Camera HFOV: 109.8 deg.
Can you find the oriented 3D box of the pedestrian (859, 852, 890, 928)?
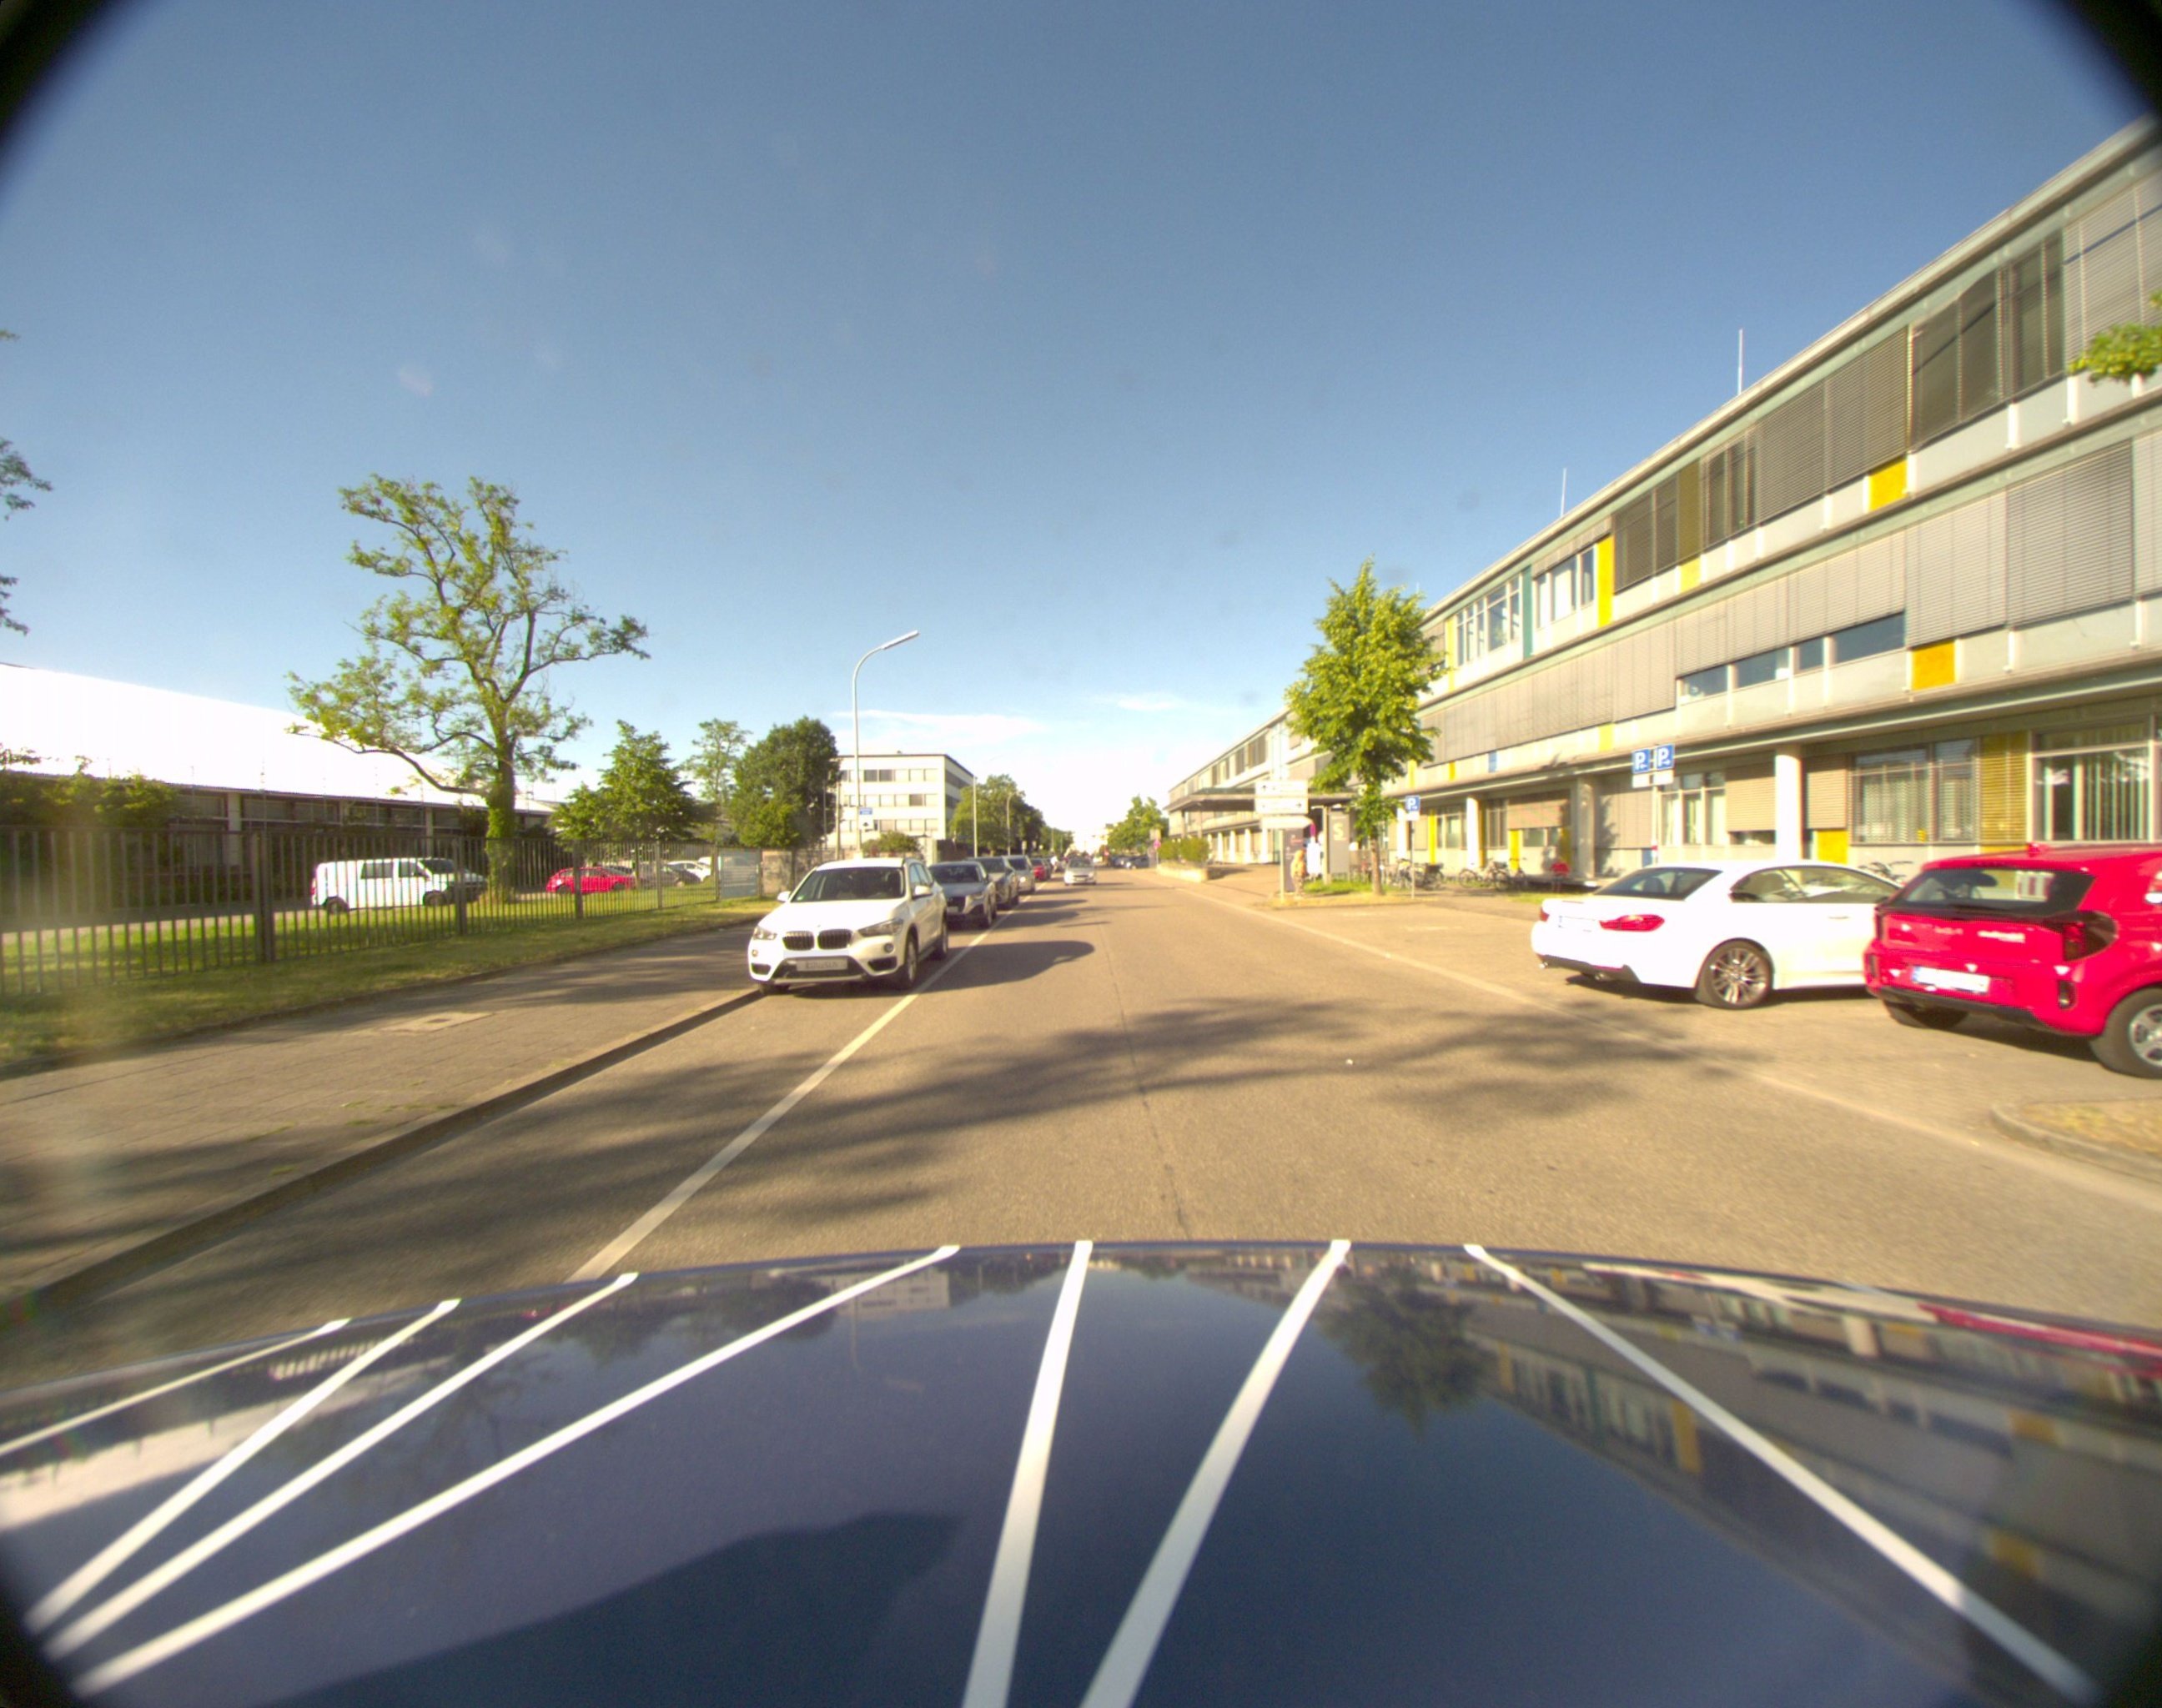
[{"bbox_3d":[-4.708,0.807,17.352,0.522,1.699,0.522,-3,1,-9],"label":"pedestrian"}]

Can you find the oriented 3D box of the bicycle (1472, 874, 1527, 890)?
[{"bbox_3d":[15.210,1.011,27.635,1.719,0.548,0.536,-1,0,-1],"label":"bicycle"}]

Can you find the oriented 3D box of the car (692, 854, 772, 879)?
[{"bbox_3d":[-24.458,0.885,53.390,4.642,1.658,1.999,-1,0,-5],"label":"car"}]

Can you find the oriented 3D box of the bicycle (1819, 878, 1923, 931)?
[{"bbox_3d":[14.189,0.885,13.695,0.370,0.858,1.450,-1,0,1],"label":"bicycle"}]

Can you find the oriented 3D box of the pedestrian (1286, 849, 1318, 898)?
[{"bbox_3d":[7.247,0.637,24.942,0.774,1.540,0.780,-3,1,0],"label":"pedestrian"}]

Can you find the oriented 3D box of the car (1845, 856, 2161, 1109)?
[{"bbox_3d":[8.055,0.763,5.292,3.642,1.460,1.615,-2,0,6],"label":"car"}]

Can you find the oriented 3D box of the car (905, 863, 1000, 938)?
[{"bbox_3d":[-2.919,1.004,18.079,1.705,1.479,3.979,-2,0,-3],"label":"car"}]

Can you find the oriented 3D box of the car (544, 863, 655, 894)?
[{"bbox_3d":[-23.355,1.159,36.984,4.154,1.245,1.828,-3,1,-3],"label":"car"}]

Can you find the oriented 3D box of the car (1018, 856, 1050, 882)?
[{"bbox_3d":[-2.990,0.923,49.491,1.814,1.501,4.721,-2,0,-1],"label":"car"}]

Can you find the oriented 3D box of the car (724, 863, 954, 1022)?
[{"bbox_3d":[-2.960,0.977,10.345,1.818,1.579,4.261,-2,0,-2],"label":"car"}]

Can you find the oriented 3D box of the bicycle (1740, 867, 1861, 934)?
[{"bbox_3d":[13.026,0.801,13.831,0.536,1.105,1.861,-1,0,4],"label":"bicycle"}]

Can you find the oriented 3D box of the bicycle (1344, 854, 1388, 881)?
[{"bbox_3d":[12.305,0.569,32.816,1.721,1.117,0.536,-1,1,-9],"label":"bicycle"}]

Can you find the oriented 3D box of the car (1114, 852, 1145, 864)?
[{"bbox_3d":[7.328,0.585,114.682,4.360,1.618,1.999,-3,1,-4],"label":"car"}]

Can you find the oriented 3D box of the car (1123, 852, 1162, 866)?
[{"bbox_3d":[6.986,0.525,86.511,4.142,1.458,1.753,-1,0,-1],"label":"car"}]

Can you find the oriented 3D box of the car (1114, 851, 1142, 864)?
[{"bbox_3d":[7.602,0.577,123.495,4.359,1.852,2.000,-3,0,1],"label":"car"}]

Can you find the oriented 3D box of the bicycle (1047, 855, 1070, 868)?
[{"bbox_3d":[-2.071,0.721,69.908,1.899,1.136,0.668,-1,1,15],"label":"bicycle"}]

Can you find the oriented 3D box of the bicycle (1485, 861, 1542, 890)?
[{"bbox_3d":[15.253,0.768,26.816,1.719,0.988,0.536,-1,1,-1],"label":"bicycle"}]

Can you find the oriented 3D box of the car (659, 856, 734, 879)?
[{"bbox_3d":[-24.417,0.833,48.319,3.899,1.371,1.675,-1,0,-3],"label":"car"}]

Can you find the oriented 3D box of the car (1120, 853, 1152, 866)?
[{"bbox_3d":[7.350,0.761,101.680,3.992,1.480,1.823,-3,1,-2],"label":"car"}]

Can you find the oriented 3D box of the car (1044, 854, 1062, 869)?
[{"bbox_3d":[-3.015,0.839,82.793,1.668,1.505,4.114,-2,0,0],"label":"car"}]

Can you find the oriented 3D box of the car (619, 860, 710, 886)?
[{"bbox_3d":[-24.064,1.107,44.005,4.154,1.245,1.878,-3,1,-3],"label":"car"}]

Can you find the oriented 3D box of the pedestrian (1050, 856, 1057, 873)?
[{"bbox_3d":[-2.839,1.078,78.961,0.693,1.718,0.775,0,1,-1],"label":"pedestrian"}]

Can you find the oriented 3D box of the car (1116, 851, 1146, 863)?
[{"bbox_3d":[7.168,0.430,108.678,4.102,1.414,1.823,-3,1,-2],"label":"car"}]

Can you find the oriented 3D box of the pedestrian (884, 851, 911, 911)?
[{"bbox_3d":[-5.117,0.740,21.169,0.540,1.602,0.683,-3,1,-4],"label":"pedestrian"}]

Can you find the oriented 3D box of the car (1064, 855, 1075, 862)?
[{"bbox_3d":[-2.551,1.030,167.658,1.999,1.382,3.998,0,0,-5],"label":"car"}]

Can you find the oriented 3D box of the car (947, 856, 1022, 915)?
[{"bbox_3d":[-2.914,0.914,23.836,1.705,1.597,4.352,-2,0,0],"label":"car"}]

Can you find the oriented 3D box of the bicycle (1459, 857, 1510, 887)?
[{"bbox_3d":[15.591,0.678,29.384,1.719,1.117,0.536,-1,1,-1],"label":"bicycle"}]

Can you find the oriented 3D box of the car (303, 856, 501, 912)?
[{"bbox_3d":[-24.026,1.032,27.071,4.979,1.635,2.095,-3,1,-3],"label":"car"}]

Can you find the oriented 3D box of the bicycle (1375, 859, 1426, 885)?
[{"bbox_3d":[12.216,0.696,29.093,1.719,0.968,0.536,-1,1,-2],"label":"bicycle"}]

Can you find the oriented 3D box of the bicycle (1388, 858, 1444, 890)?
[{"bbox_3d":[11.752,0.698,26.703,1.706,1.115,0.536,-1,1,5],"label":"bicycle"}]

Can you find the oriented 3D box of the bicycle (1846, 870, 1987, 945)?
[{"bbox_3d":[13.744,0.844,12.575,0.421,1.117,1.763,-1,0,1],"label":"bicycle"}]

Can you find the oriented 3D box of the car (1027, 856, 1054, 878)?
[{"bbox_3d":[-2.911,0.910,55.296,1.705,1.478,4.214,-2,0,-1],"label":"car"}]

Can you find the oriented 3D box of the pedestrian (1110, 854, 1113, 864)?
[{"bbox_3d":[5.585,0.950,140.030,0.369,1.712,0.479,-3,5,-4],"label":"pedestrian"}]

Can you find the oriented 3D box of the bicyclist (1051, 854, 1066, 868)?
[{"bbox_3d":[-2.083,0.649,69.670,1.098,1.261,0.863,-1,1,15],"label":"bicyclist"}]

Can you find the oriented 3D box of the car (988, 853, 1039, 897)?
[{"bbox_3d":[-2.874,0.855,33.113,1.814,1.712,4.703,-2,0,-1],"label":"car"}]

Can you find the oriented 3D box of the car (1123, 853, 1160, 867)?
[{"bbox_3d":[7.216,0.695,91.366,4.232,1.642,1.960,-1,0,-3],"label":"car"}]

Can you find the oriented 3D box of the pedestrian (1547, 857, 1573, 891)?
[{"bbox_3d":[16.506,0.690,26.193,0.533,1.166,0.556,-1,1,1],"label":"pedestrian"}]

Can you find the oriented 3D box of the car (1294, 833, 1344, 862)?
[{"bbox_3d":[16.260,-0.412,52.106,1.924,1.880,4.711,-1,0,0],"label":"car"}]

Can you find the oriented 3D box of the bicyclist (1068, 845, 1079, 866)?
[{"bbox_3d":[-0.746,0.116,74.109,1.052,2.002,0.959,-2,2,-1],"label":"bicyclist"}]

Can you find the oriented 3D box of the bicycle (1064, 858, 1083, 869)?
[{"bbox_3d":[-0.724,0.941,74.119,1.884,1.003,0.701,-1,1,-1],"label":"bicycle"}]

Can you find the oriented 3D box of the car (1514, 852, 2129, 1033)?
[{"bbox_3d":[7.209,0.811,7.768,4.523,1.359,1.700,-4,0,1],"label":"car"}]

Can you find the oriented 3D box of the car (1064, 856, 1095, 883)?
[{"bbox_3d":[-0.097,0.826,41.400,1.551,1.389,3.453,0,0,-2],"label":"car"}]

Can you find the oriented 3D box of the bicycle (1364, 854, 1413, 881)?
[{"bbox_3d":[12.237,0.531,30.245,1.719,1.049,0.536,-1,1,-2],"label":"bicycle"}]
